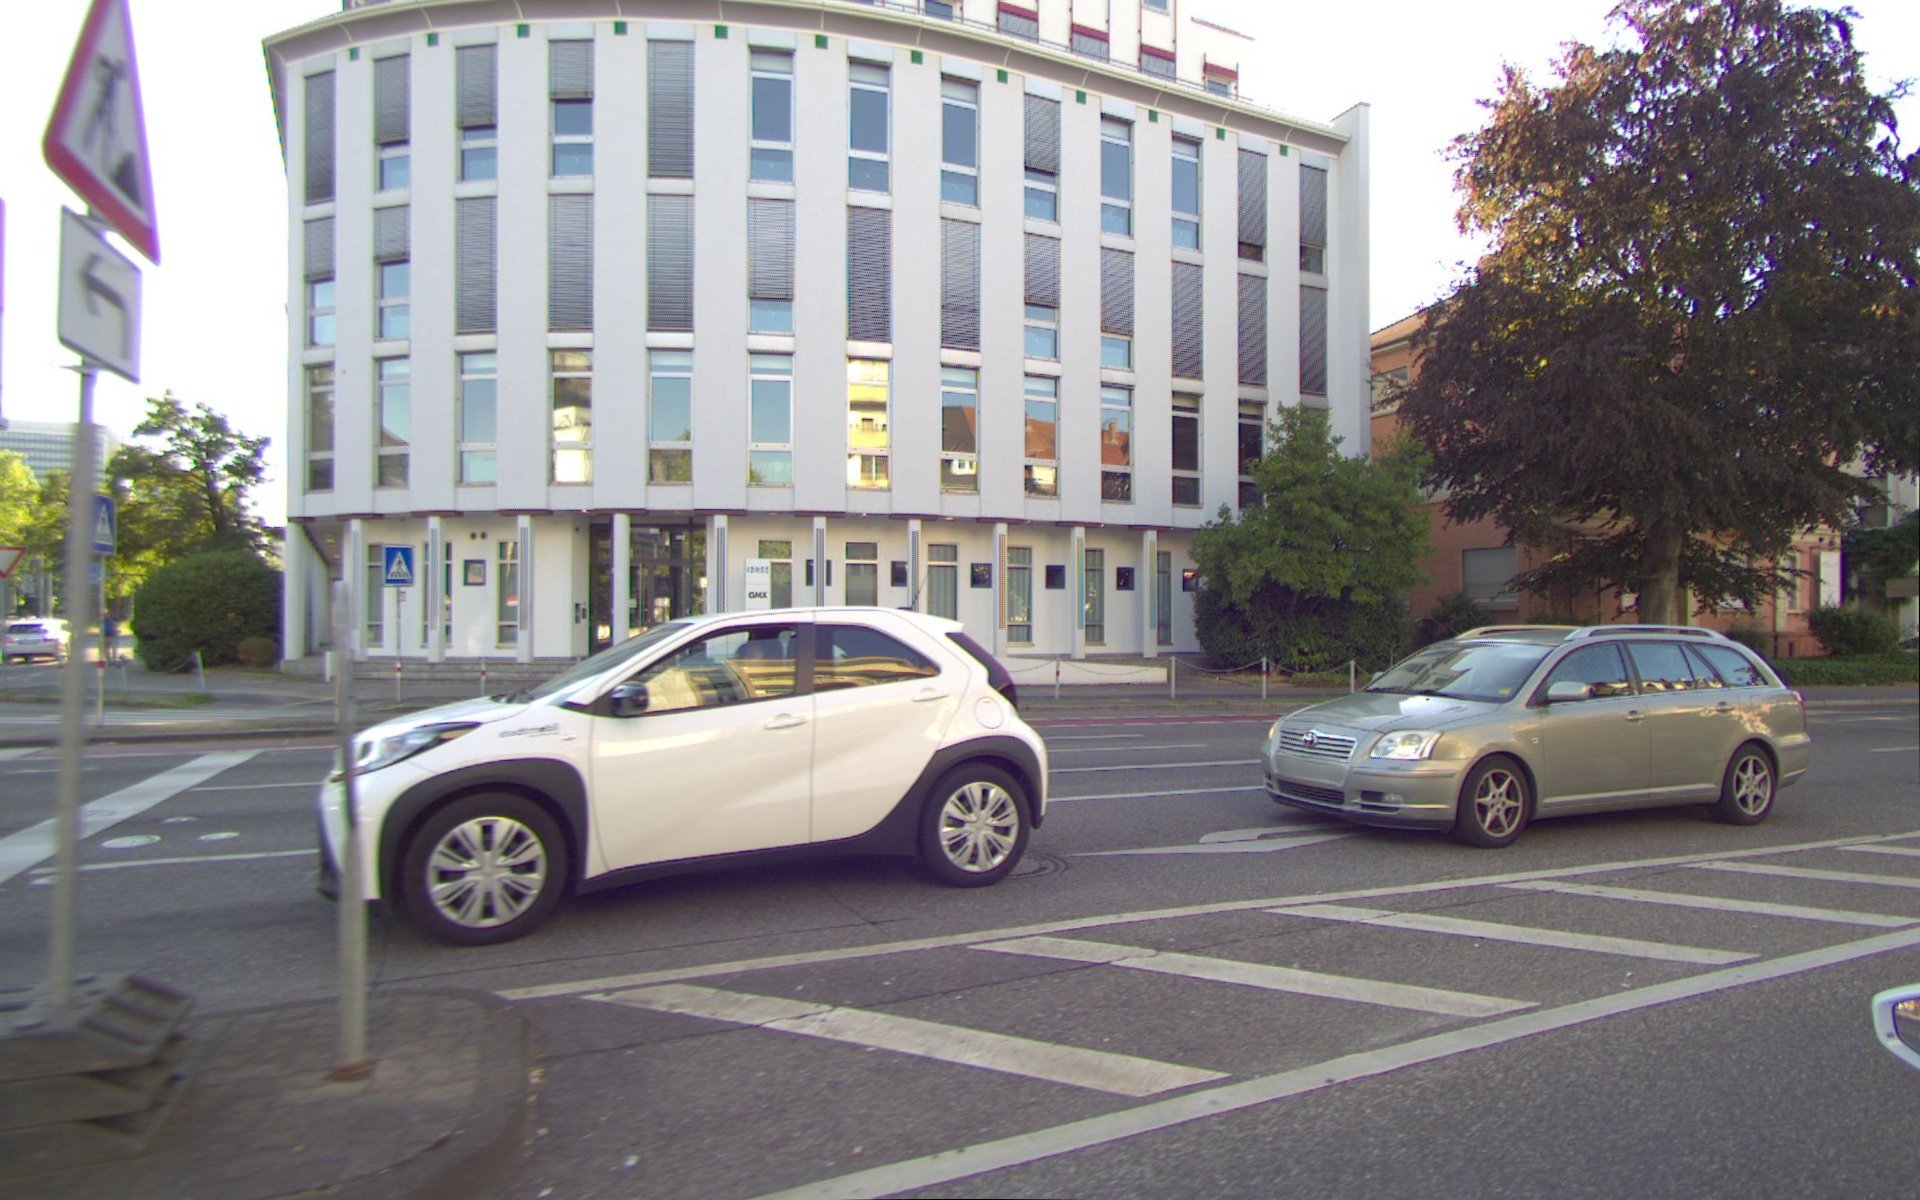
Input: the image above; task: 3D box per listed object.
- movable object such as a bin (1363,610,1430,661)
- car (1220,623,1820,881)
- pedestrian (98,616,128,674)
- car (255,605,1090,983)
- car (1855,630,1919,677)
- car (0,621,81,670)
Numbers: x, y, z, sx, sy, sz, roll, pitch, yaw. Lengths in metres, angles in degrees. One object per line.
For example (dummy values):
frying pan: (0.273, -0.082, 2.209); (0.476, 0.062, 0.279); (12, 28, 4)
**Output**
movable object such as a bin: (14.498, 1.159, 33.388); (1.435, 1.673, 1.500); (0, -1, -21)
car: (4.441, 0.962, 7.901); (4.541, 1.534, 1.822); (0, -1, -25)
pedestrian: (-27.110, 1.430, 32.168); (0.691, 1.814, 0.477); (0, -1, -35)
car: (-1.395, 0.785, 5.593); (3.849, 1.480, 1.822); (0, -1, -25)
car: (32.723, 1.805, 33.795); (1.792, 1.506, 3.484); (0, -1, -27)
car: (-34.995, 1.679, 38.239); (1.982, 1.751, 3.958); (0, -1, -37)
